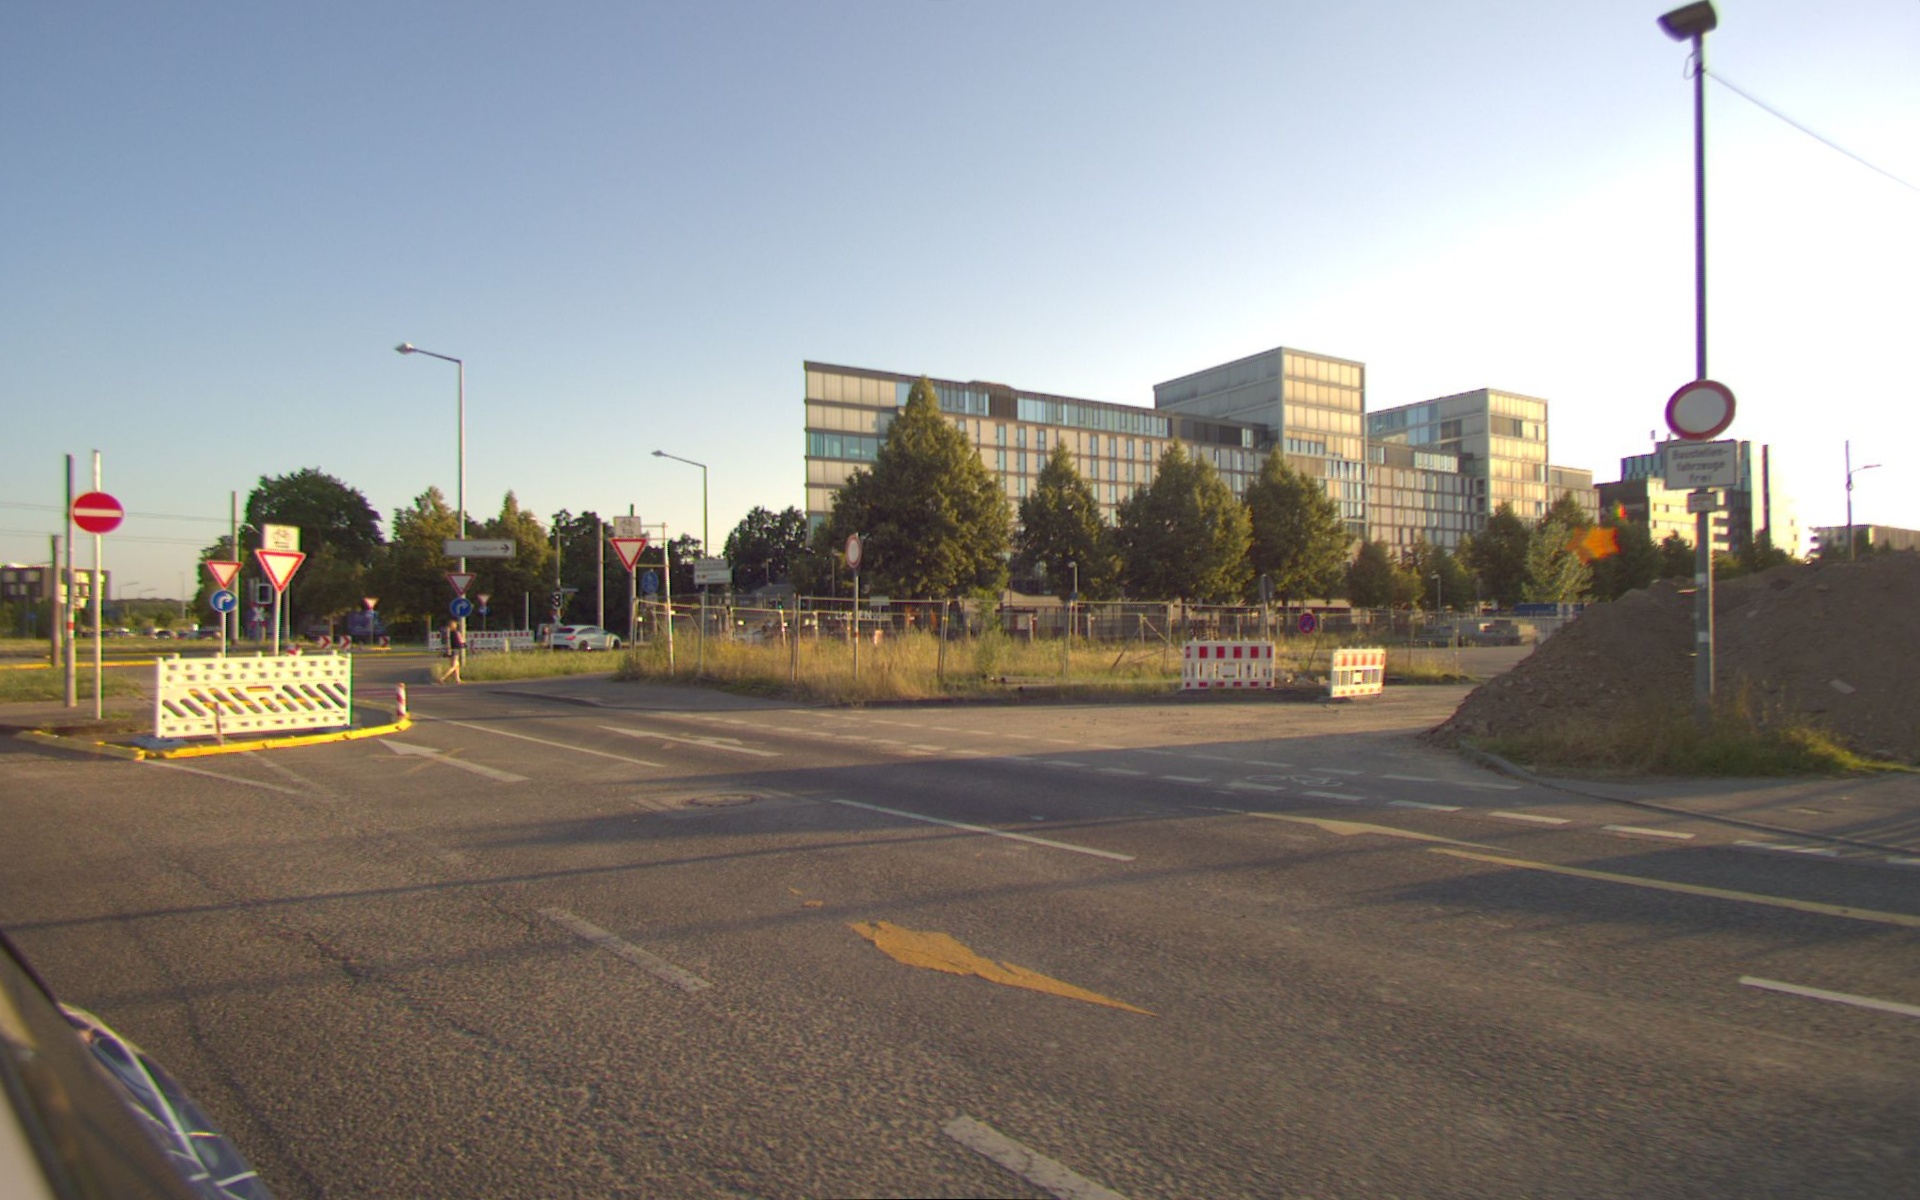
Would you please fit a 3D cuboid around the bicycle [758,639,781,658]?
[{"bbox_3d":[-10.784,2.718,57.113,0.689,1.052,2.086,1,-2,-27],"label":"bicycle"}]

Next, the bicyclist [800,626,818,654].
[{"bbox_3d":[-8.127,2.136,54.378,0.689,1.502,0.977,1,-2,-24],"label":"bicyclist"}]

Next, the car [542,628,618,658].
[{"bbox_3d":[-19.902,2.236,53.155,1.618,1.475,3.976,-1,-1,18],"label":"car"}]

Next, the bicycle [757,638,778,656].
[{"bbox_3d":[-11.494,2.811,60.449,0.689,1.052,2.086,1,-2,-27],"label":"bicycle"}]

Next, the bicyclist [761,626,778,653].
[{"bbox_3d":[-10.772,2.221,57.117,0.689,1.502,0.977,1,-2,-28],"label":"bicyclist"}]

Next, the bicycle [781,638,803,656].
[{"bbox_3d":[-9.994,2.796,60.180,0.689,1.052,2.086,1,-2,-27],"label":"bicycle"}]

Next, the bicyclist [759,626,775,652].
[{"bbox_3d":[-11.515,2.314,60.494,0.689,1.502,0.977,1,-2,-28],"label":"bicyclist"}]

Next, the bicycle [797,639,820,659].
[{"bbox_3d":[-8.150,2.616,54.406,0.689,1.052,2.086,1,-2,-24],"label":"bicycle"}]

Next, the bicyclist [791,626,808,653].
[{"bbox_3d":[-9.030,2.239,57.012,0.689,1.502,0.977,1,-2,-24],"label":"bicyclist"}]

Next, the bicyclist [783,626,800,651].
[{"bbox_3d":[-10.041,2.302,60.280,0.689,1.502,0.977,1,-2,-28],"label":"bicyclist"}]

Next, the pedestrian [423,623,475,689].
[{"bbox_3d":[-13.433,1.463,26.615,0.784,1.708,0.918,-1,-3,28],"label":"pedestrian"}]

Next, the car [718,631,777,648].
[{"bbox_3d":[-17.895,3.317,85.138,4.515,1.432,1.827,1,-2,-33],"label":"car"}]

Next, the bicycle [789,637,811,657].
[{"bbox_3d":[-9.015,2.639,56.960,0.689,1.052,2.086,1,-2,-24],"label":"bicycle"}]
